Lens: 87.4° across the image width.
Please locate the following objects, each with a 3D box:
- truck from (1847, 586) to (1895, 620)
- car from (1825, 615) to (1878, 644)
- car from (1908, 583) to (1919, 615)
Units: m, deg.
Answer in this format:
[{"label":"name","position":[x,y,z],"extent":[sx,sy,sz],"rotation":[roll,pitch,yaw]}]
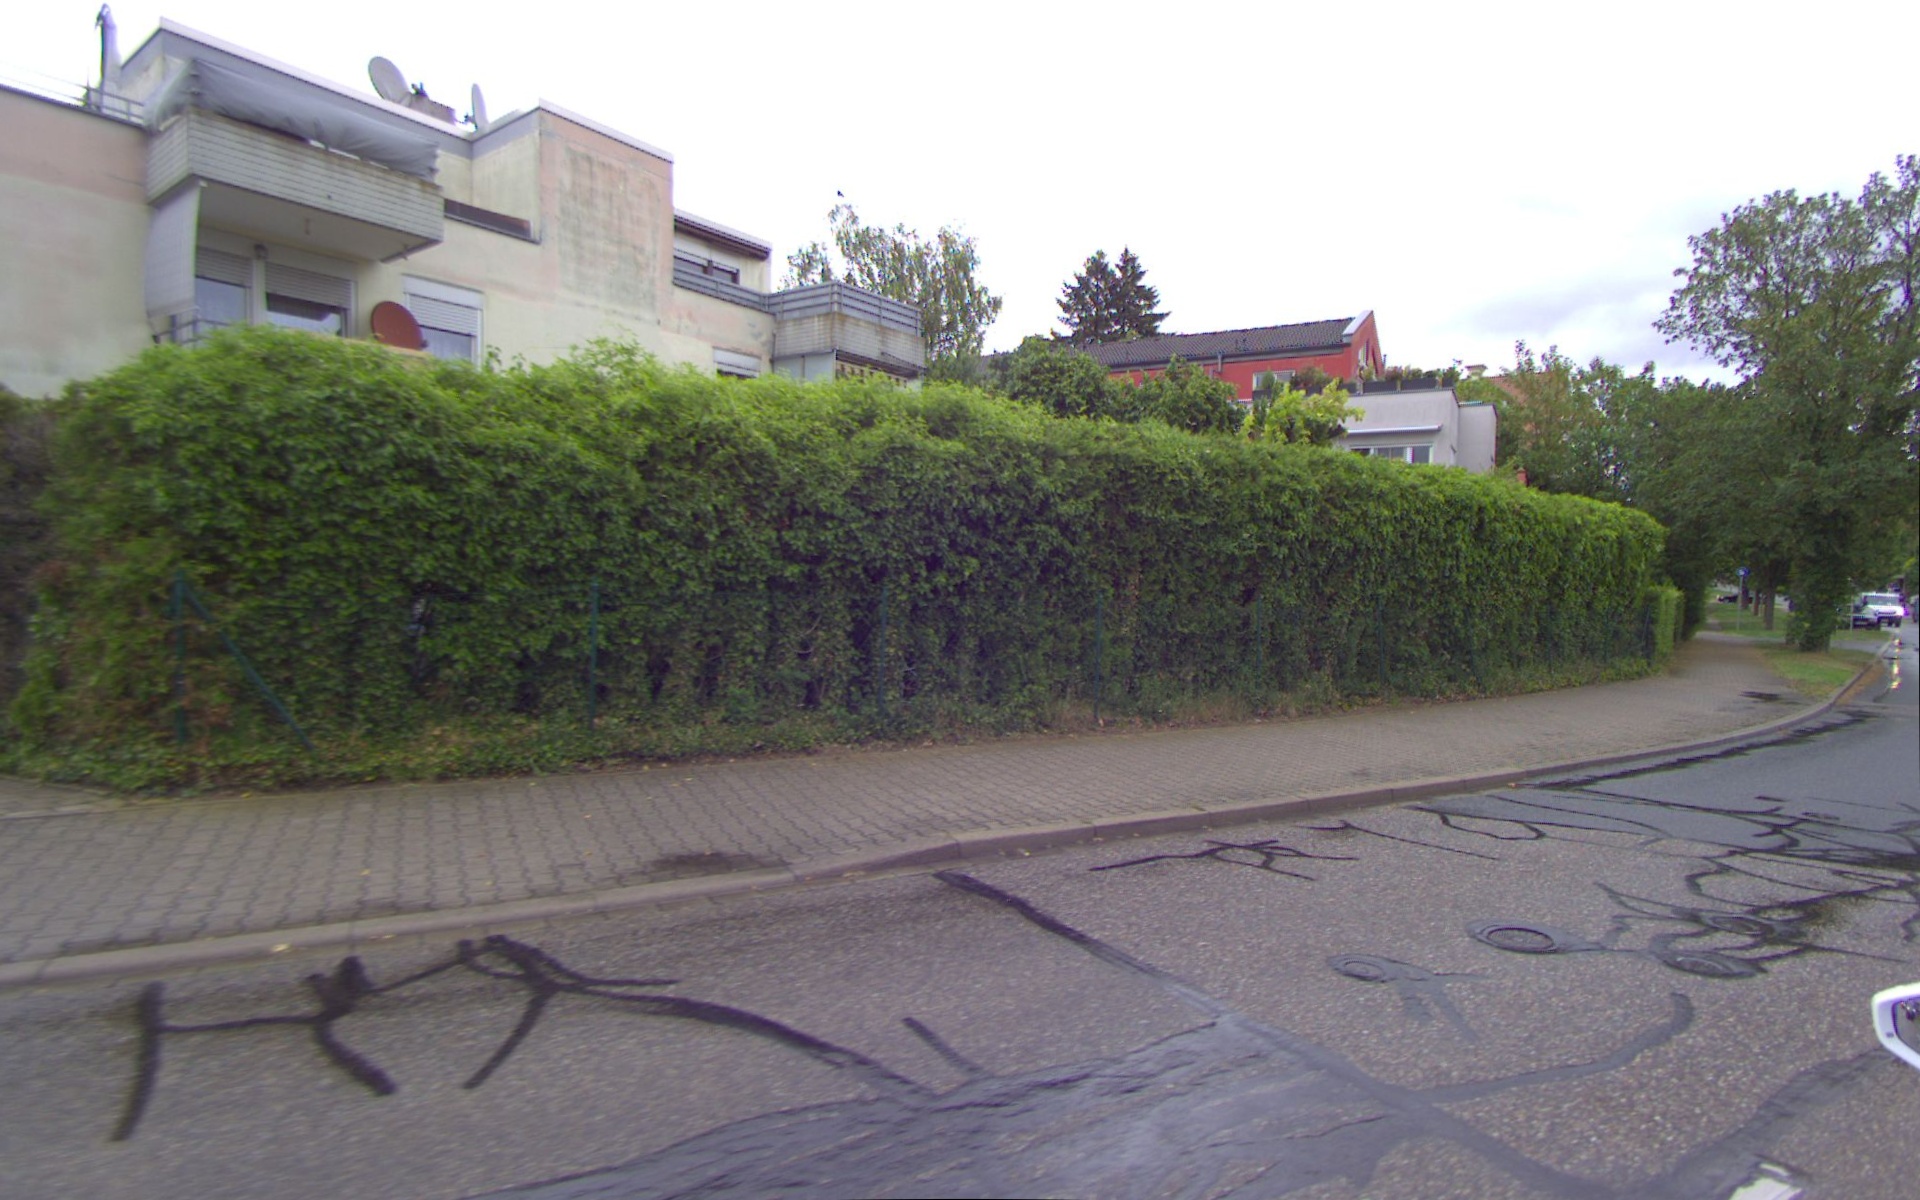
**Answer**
[{"label":"truck","position":[64.303,0.201,70.968],"extent":[2.191,2.233,6.431],"rotation":[4,2,40]},{"label":"car","position":[48.639,1.566,54.871],"extent":[1.700,1.427,3.812],"rotation":[3,1,36]},{"label":"car","position":[81.287,-0.101,84.183],"extent":[1.967,2.621,5.613],"rotation":[0,1,36]}]
